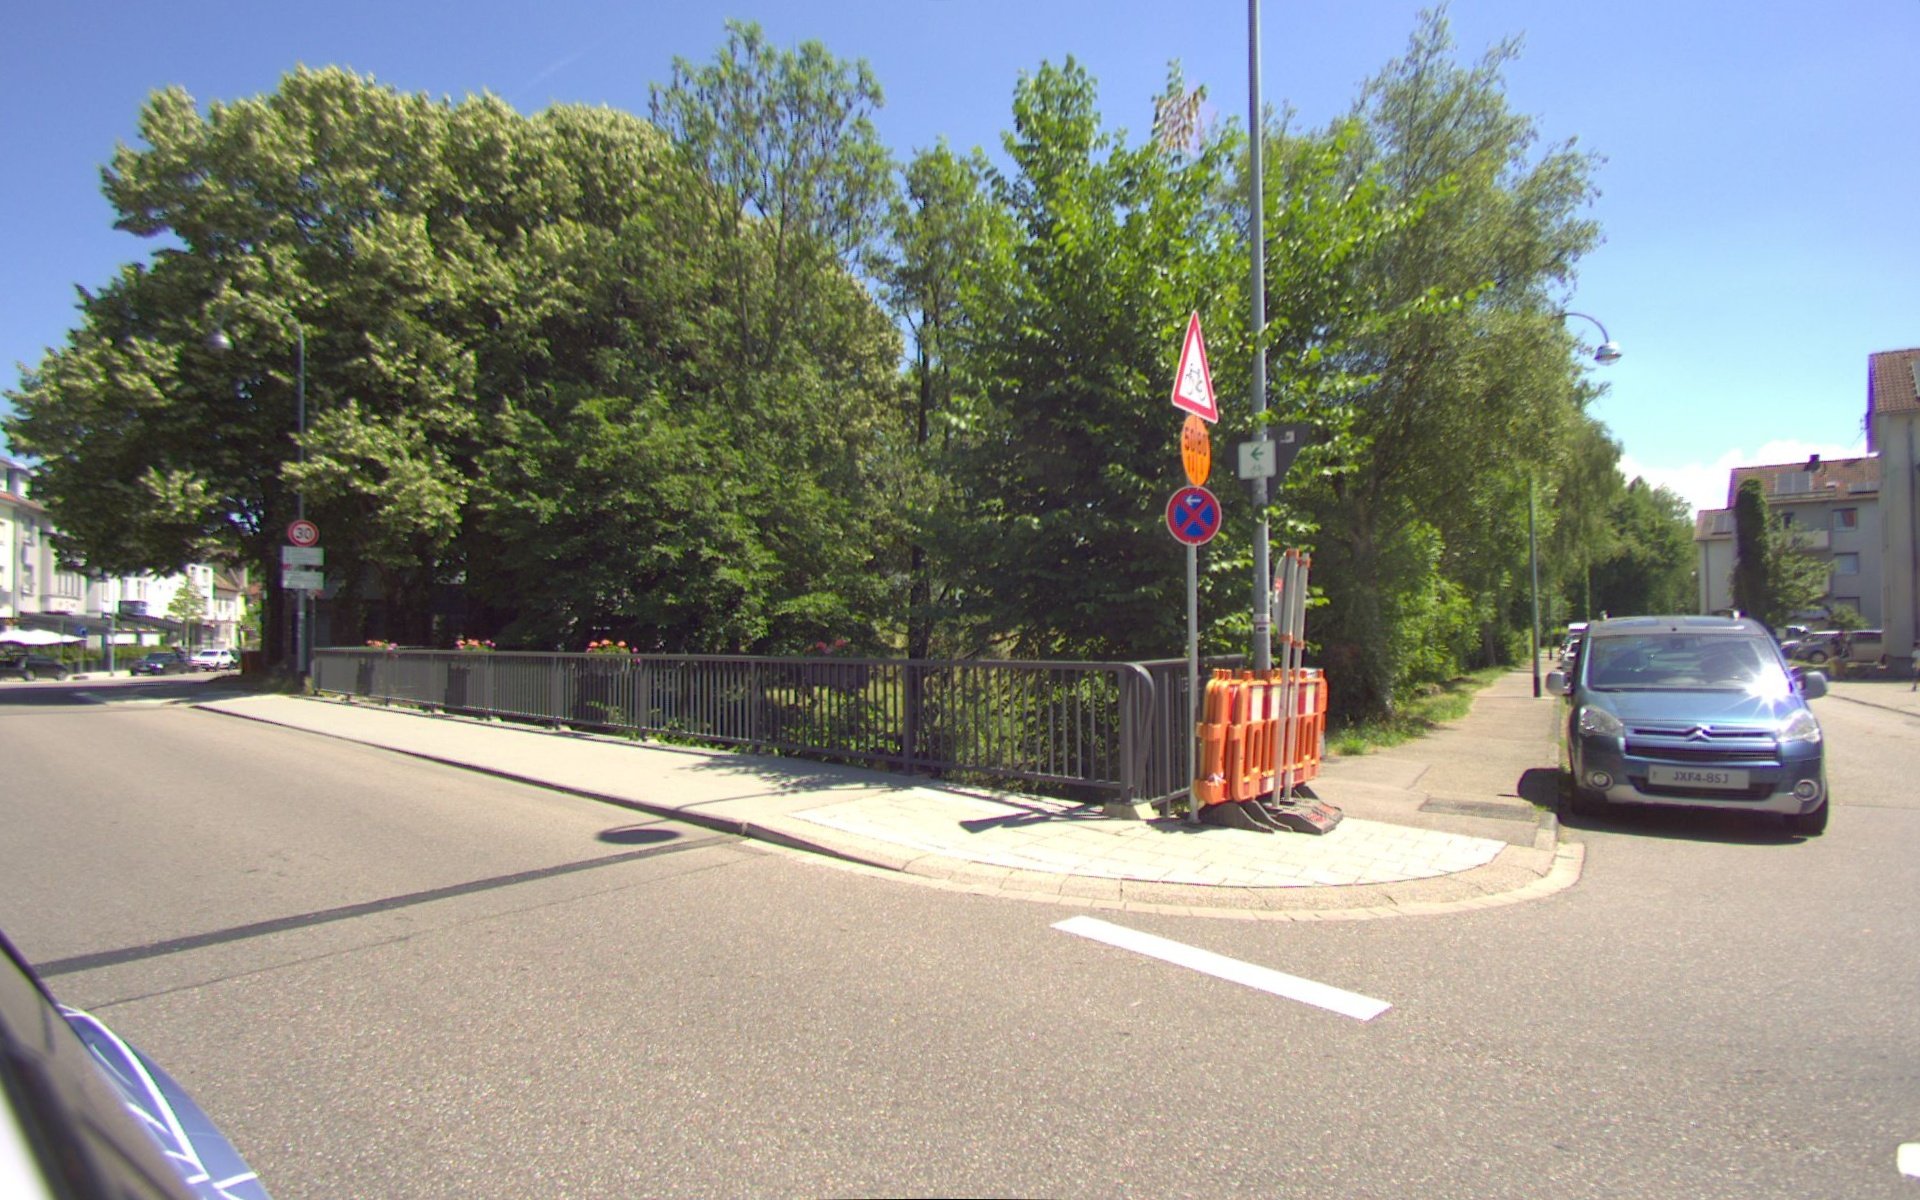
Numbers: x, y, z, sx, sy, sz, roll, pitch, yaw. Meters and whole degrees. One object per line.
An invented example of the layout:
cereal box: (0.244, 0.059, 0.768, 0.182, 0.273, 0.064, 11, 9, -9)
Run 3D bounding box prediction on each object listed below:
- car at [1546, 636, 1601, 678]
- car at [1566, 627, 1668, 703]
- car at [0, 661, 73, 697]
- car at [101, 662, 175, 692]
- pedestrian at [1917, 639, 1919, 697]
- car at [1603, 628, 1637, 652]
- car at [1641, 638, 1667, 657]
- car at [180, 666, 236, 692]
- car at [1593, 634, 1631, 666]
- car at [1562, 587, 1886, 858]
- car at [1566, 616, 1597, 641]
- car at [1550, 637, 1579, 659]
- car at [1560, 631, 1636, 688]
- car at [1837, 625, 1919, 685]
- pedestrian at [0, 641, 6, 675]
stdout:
car: (27.443, 2.524, 45.360, 1.993, 1.815, 4.391, -2, -3, 31)
car: (17.093, 1.649, 26.513, 1.993, 1.815, 4.391, -2, -3, 31)
car: (-48.687, 4.070, 52.456, 1.971, 1.729, 4.000, -1, -3, -1)
car: (-50.979, 4.780, 62.783, 3.977, 1.729, 1.983, -3, -5, 25)
pedestrian: (25.735, 1.786, 26.667, 0.695, 1.523, 0.722, -3, -3, 43)
car: (67.223, 4.036, 103.045, 2.129, 2.392, 4.670, -3, -2, 42)
car: (76.100, 5.199, 110.913, 1.998, 2.029, 3.947, -2, -3, 40)
car: (-52.677, 5.536, 70.965, 1.965, 1.697, 4.012, 1, -3, -19)
car: (43.982, 3.360, 68.362, 1.993, 2.029, 3.957, -2, -3, 31)
car: (6.743, 0.982, 9.447, 1.812, 1.888, 4.391, -3, -4, 30)
car: (53.803, 2.460, 87.522, 1.996, 2.029, 3.952, -2, -2, 35)
car: (58.811, 4.636, 98.405, 1.996, 2.029, 3.950, -2, -2, 37)
car: (21.730, 2.008, 34.618, 1.993, 1.815, 4.391, -2, -3, 31)
car: (30.081, 1.715, 31.888, 3.546, 1.802, 1.538, -5, -4, 40)
pedestrian: (-50.600, 3.020, 52.924, 0.802, 1.769, 0.637, 2, -3, -26)
